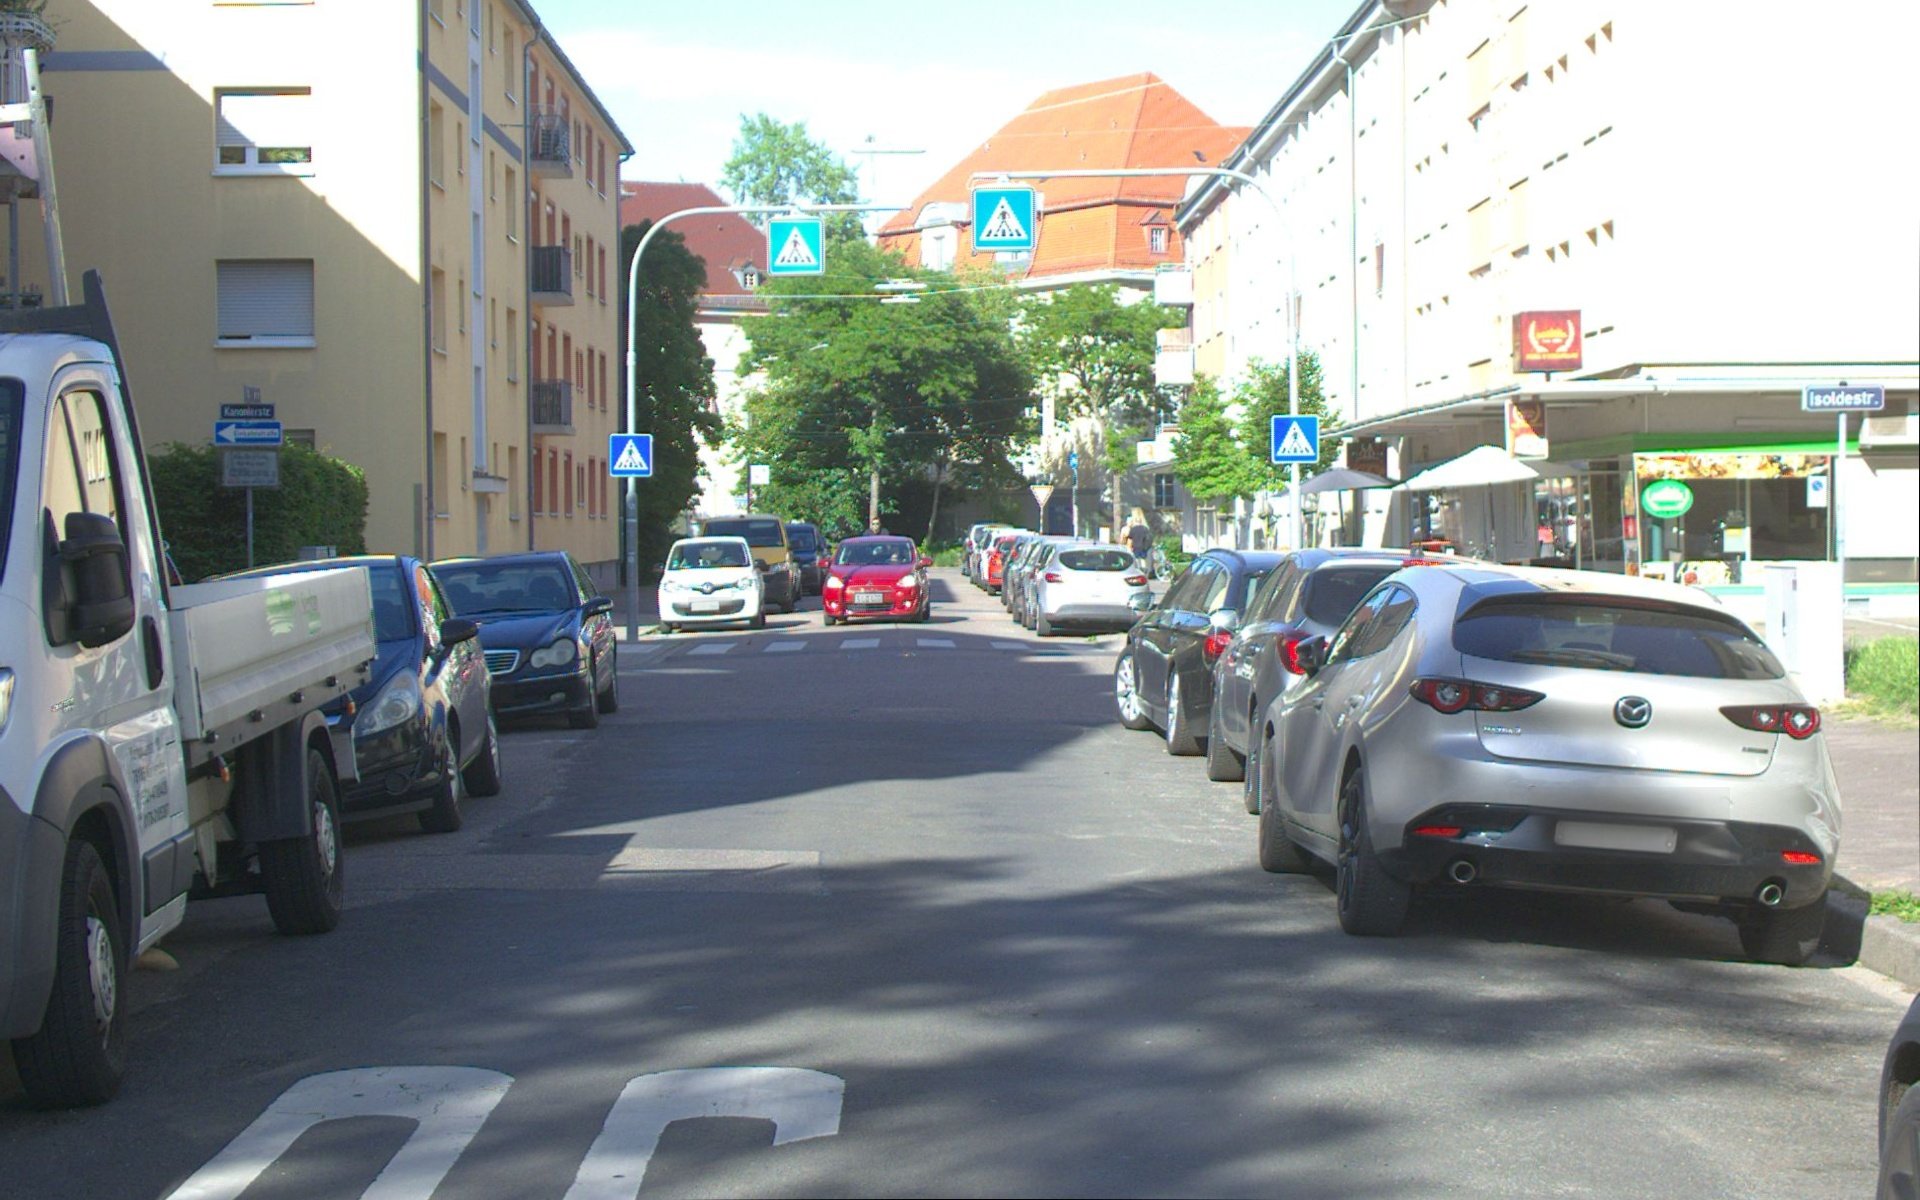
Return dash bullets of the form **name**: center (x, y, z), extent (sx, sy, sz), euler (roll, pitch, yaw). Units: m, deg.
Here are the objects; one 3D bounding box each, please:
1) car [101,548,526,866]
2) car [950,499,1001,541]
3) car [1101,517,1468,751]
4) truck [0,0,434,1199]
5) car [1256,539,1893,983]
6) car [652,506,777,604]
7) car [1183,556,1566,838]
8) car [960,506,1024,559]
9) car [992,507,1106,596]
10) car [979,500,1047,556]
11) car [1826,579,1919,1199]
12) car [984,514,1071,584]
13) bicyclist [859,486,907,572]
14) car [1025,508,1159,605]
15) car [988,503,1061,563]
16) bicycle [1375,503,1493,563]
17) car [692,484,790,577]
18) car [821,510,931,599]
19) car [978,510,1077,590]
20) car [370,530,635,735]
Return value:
- **car**: center (-3.392, 0.488, 18.717), extent (1.645, 1.411, 4.081), euler (-4, 1, -3)
- **car**: center (0.523, -2.776, 118.923), extent (1.637, 1.436, 3.419), euler (0, 2, -2)
- **car**: center (2.218, 0.187, 24.817), extent (1.853, 1.518, 4.778), euler (0, 1, -4)
- **truck**: center (-3.499, -0.049, 11.557), extent (2.259, 2.975, 7.277), euler (-6, 1, -2)
- **car**: center (2.374, 0.536, 14.411), extent (1.792, 1.466, 4.339), euler (4, 1, 0)
- **car**: center (-4.050, -0.780, 57.338), extent (1.791, 1.475, 4.099), euler (-1, 2, 0)
- **car**: center (2.302, 0.485, 19.991), extent (1.645, 1.455, 3.940), euler (1, 1, -1)
- **car**: center (0.871, -1.893, 95.230), extent (1.637, 1.436, 3.419), euler (0, 2, -2)
- **car**: center (1.465, -0.842, 57.695), extent (1.690, 1.436, 3.419), euler (0, 2, -2)
- **car**: center (1.389, -1.909, 90.682), extent (1.637, 1.436, 3.419), euler (0, 2, -2)
- **car**: center (2.507, 0.777, 4.689), extent (1.688, 1.462, 3.583), euler (4, 1, 0)
- **car**: center (1.403, -1.099, 72.761), extent (1.637, 1.436, 3.419), euler (0, 2, -2)
- **bicyclist**: center (-1.478, -1.366, 65.882), extent (0.786, 1.615, 0.956), euler (-2, 2, 4)
- **car**: center (2.005, -0.694, 53.041), extent (1.845, 1.436, 3.419), euler (0, 2, -1)
- **car**: center (1.564, -1.661, 84.488), extent (1.637, 1.436, 3.419), euler (0, 2, -2)
- **bicycle**: center (7.791, -1.111, 56.564), extent (1.806, 0.964, 0.674), euler (-1, 1, -11)
- **car**: center (-4.275, -1.387, 67.575), extent (1.697, 1.772, 4.099), euler (0, 2, 0)
- **car**: center (-1.446, -0.787, 58.029), extent (1.697, 1.436, 3.419), euler (0, 2, -4)
- **car**: center (1.233, -0.957, 63.992), extent (1.637, 1.436, 3.419), euler (0, 2, -2)
- **car**: center (-3.642, 0.212, 28.032), extent (1.703, 1.411, 4.375), euler (-4, 1, -3)
